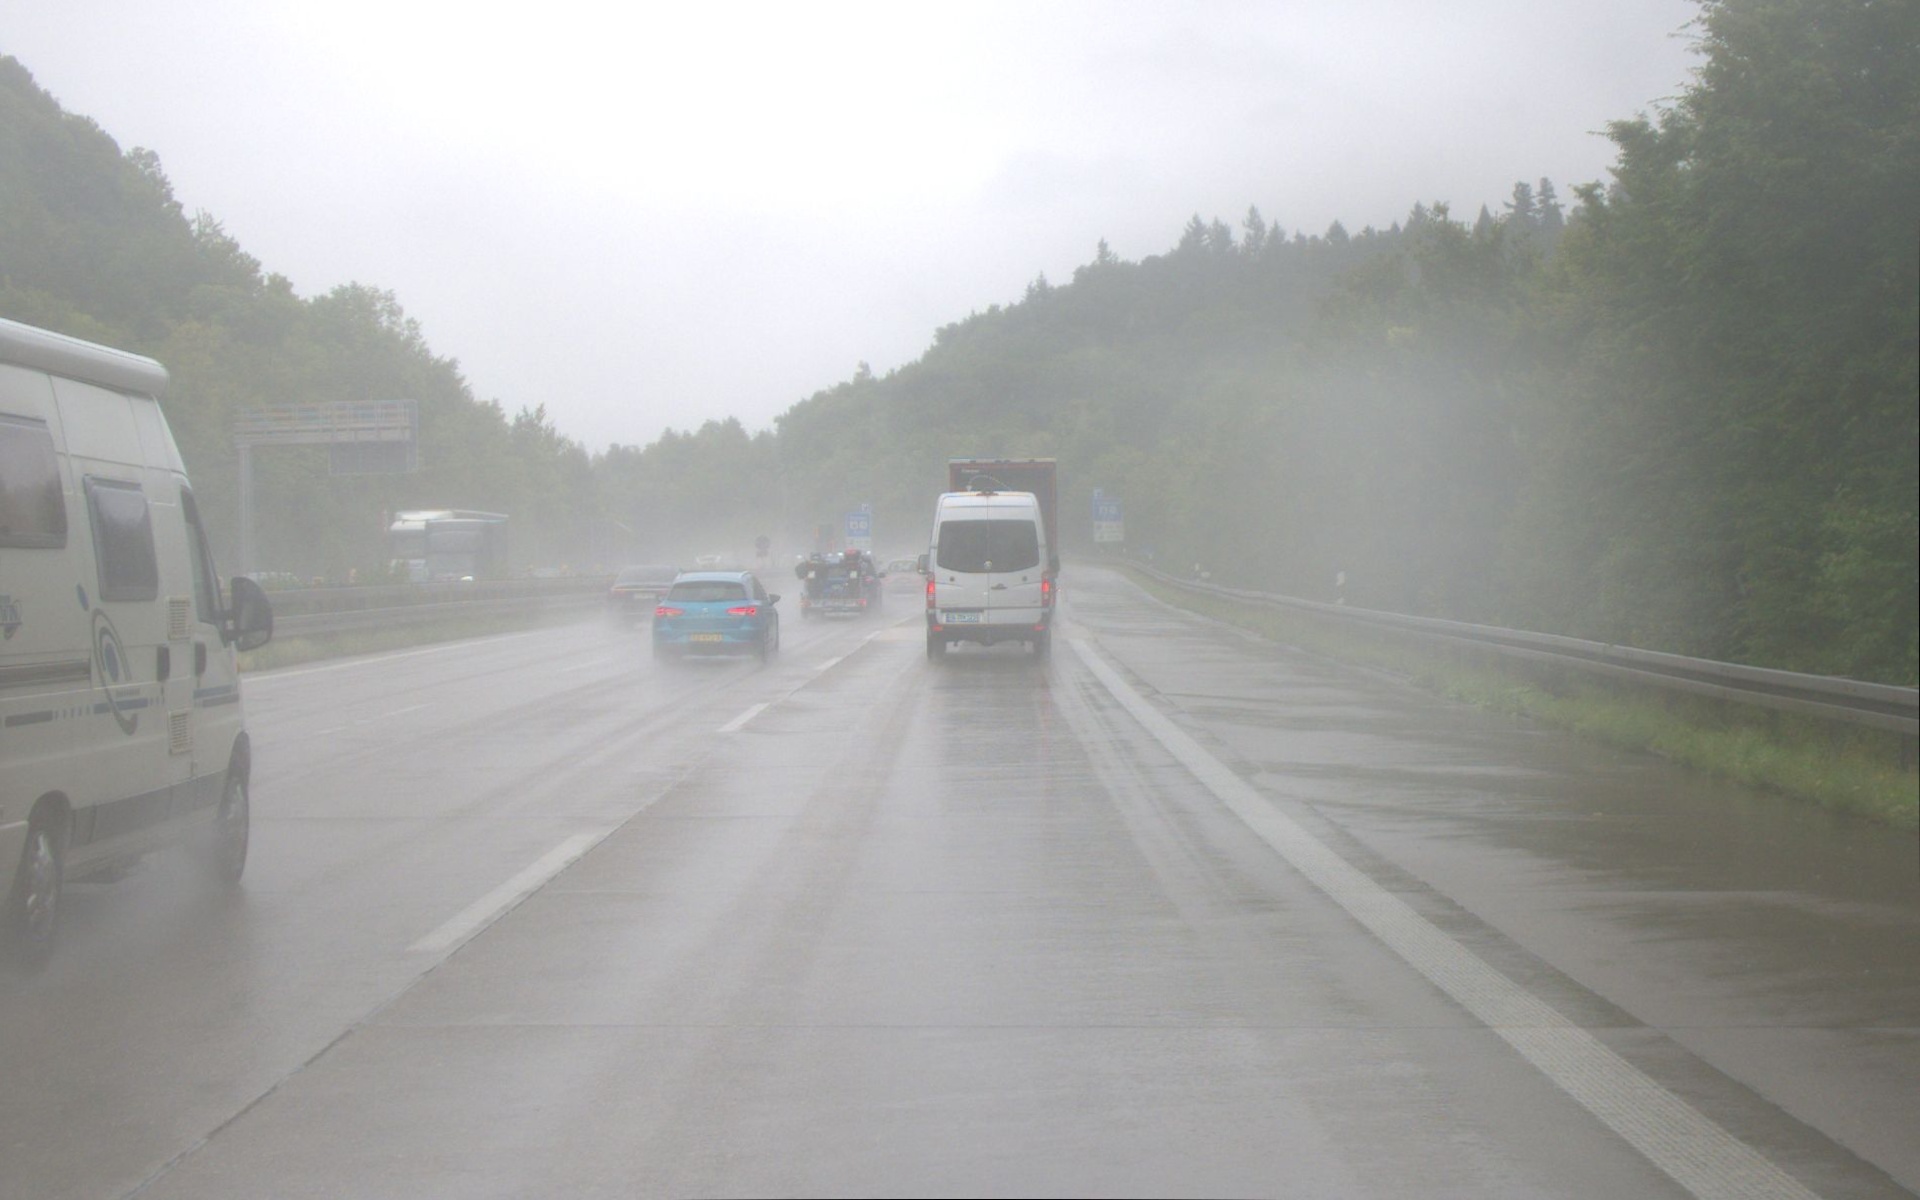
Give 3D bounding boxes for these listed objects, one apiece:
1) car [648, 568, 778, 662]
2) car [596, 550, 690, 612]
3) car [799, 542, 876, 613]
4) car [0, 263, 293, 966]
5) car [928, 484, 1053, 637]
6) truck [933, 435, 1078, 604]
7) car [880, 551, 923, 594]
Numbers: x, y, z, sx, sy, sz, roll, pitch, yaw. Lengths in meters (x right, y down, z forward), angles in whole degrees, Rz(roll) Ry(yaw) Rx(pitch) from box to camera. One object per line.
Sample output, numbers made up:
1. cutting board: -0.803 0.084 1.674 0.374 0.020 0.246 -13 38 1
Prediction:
1. car: -3.779 0.199 53.190 1.856 1.334 4.352 1 1 -2
2. car: -7.230 -0.458 78.750 1.856 1.334 4.352 1 1 -2
3. car: -3.188 -0.619 90.356 1.868 1.804 4.189 1 1 0
4. car: -4.364 -0.010 14.680 1.997 2.423 5.791 1 1 -1
5. car: 0.456 -0.659 55.684 1.899 2.326 5.251 1 1 0
6. truck: 1.126 -2.127 86.744 3.385 3.954 8.667 -1 3 1
7. car: -2.276 -1.091 134.879 1.614 1.622 4.189 1 1 0
